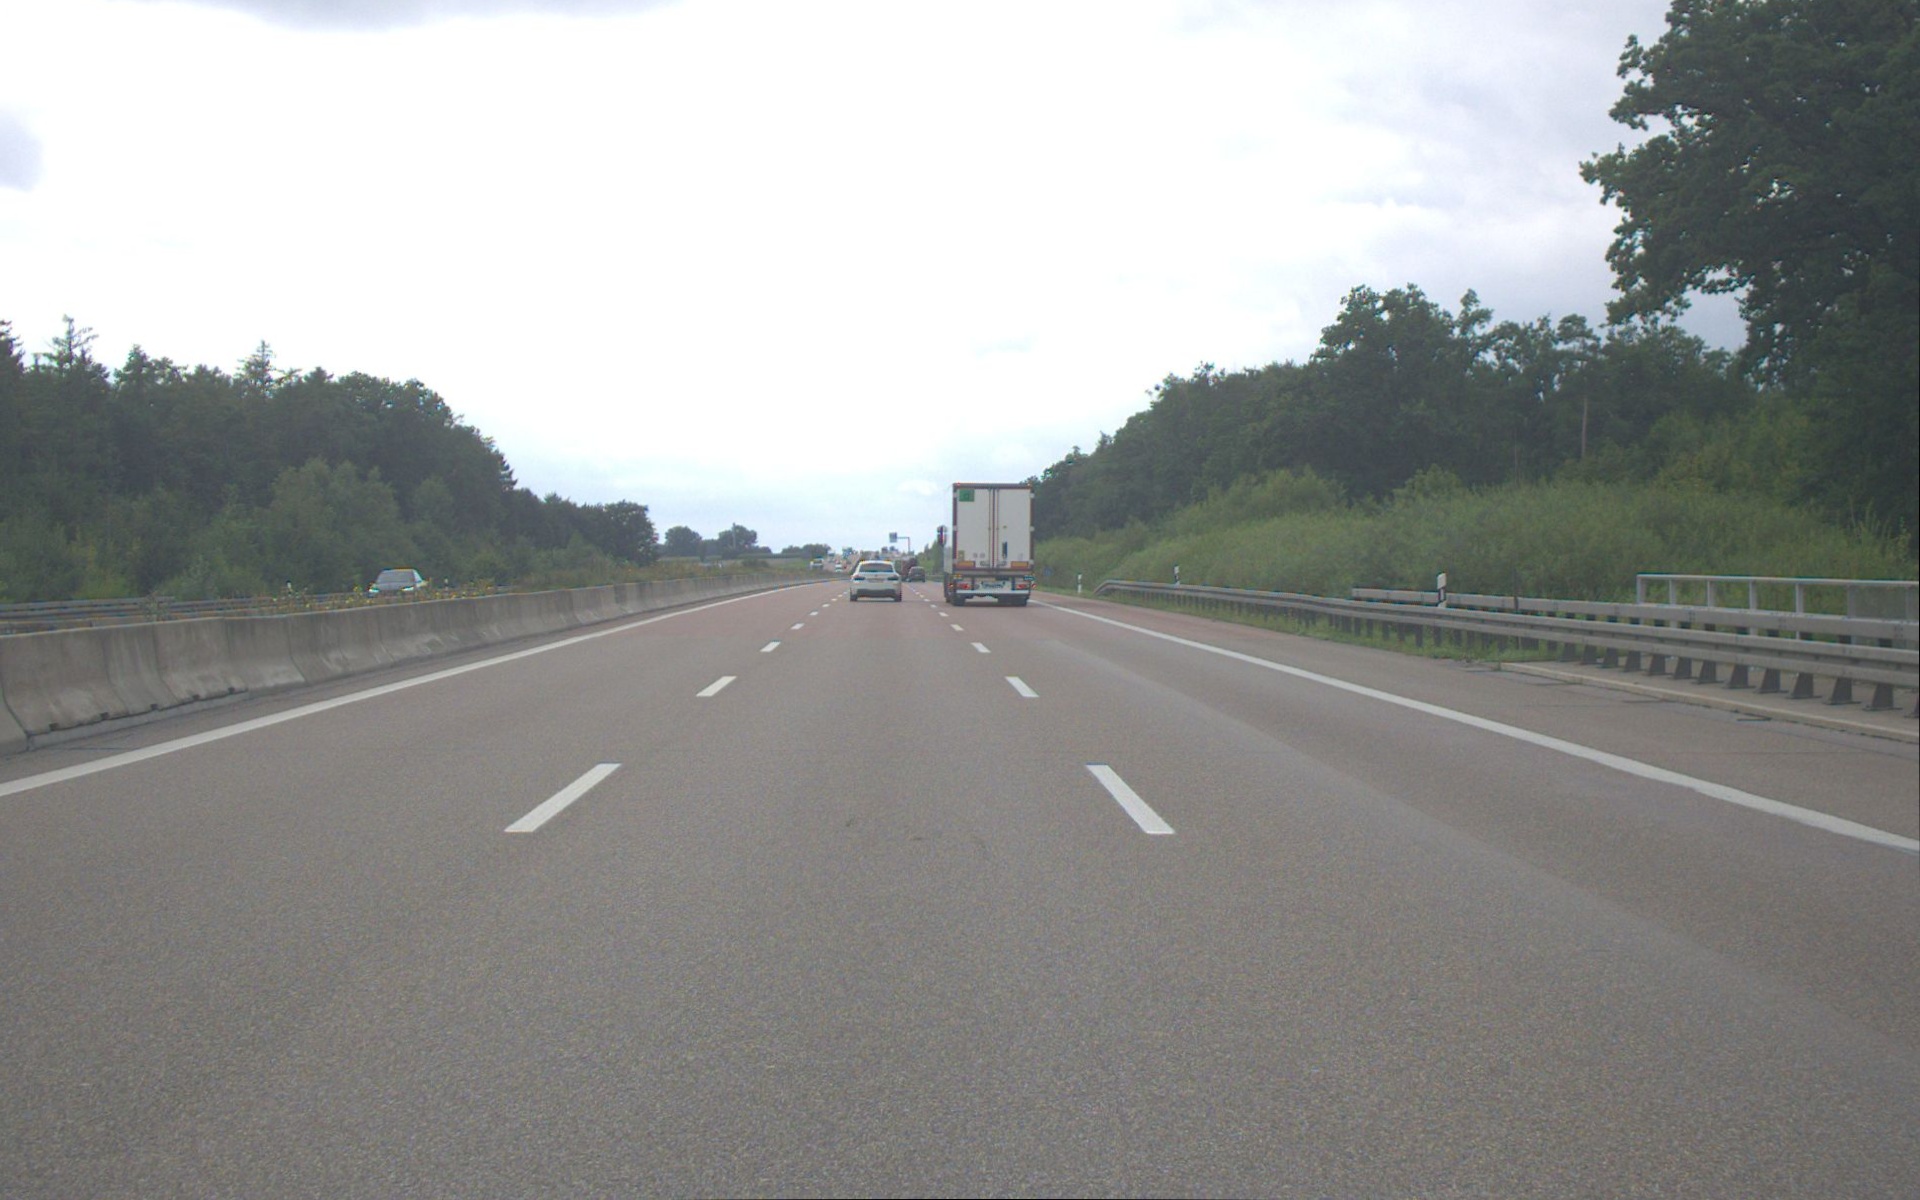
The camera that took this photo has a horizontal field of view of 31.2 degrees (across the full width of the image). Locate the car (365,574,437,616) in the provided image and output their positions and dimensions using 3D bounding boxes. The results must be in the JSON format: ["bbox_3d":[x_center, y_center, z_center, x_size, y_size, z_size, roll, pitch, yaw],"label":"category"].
[{"bbox_3d":[-22.223,-0.228,136.785,2.124,1.585,5.198,0,1,-2],"label":"car"}]

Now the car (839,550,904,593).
[{"bbox_3d":[-3.195,-1.058,125.141,2.163,1.446,4.719,1,1,0],"label":"car"}]

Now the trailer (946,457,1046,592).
[{"bbox_3d":[1.099,-2.463,115.838,2.921,4.279,13.614,0,0,-1],"label":"trailer"}]
